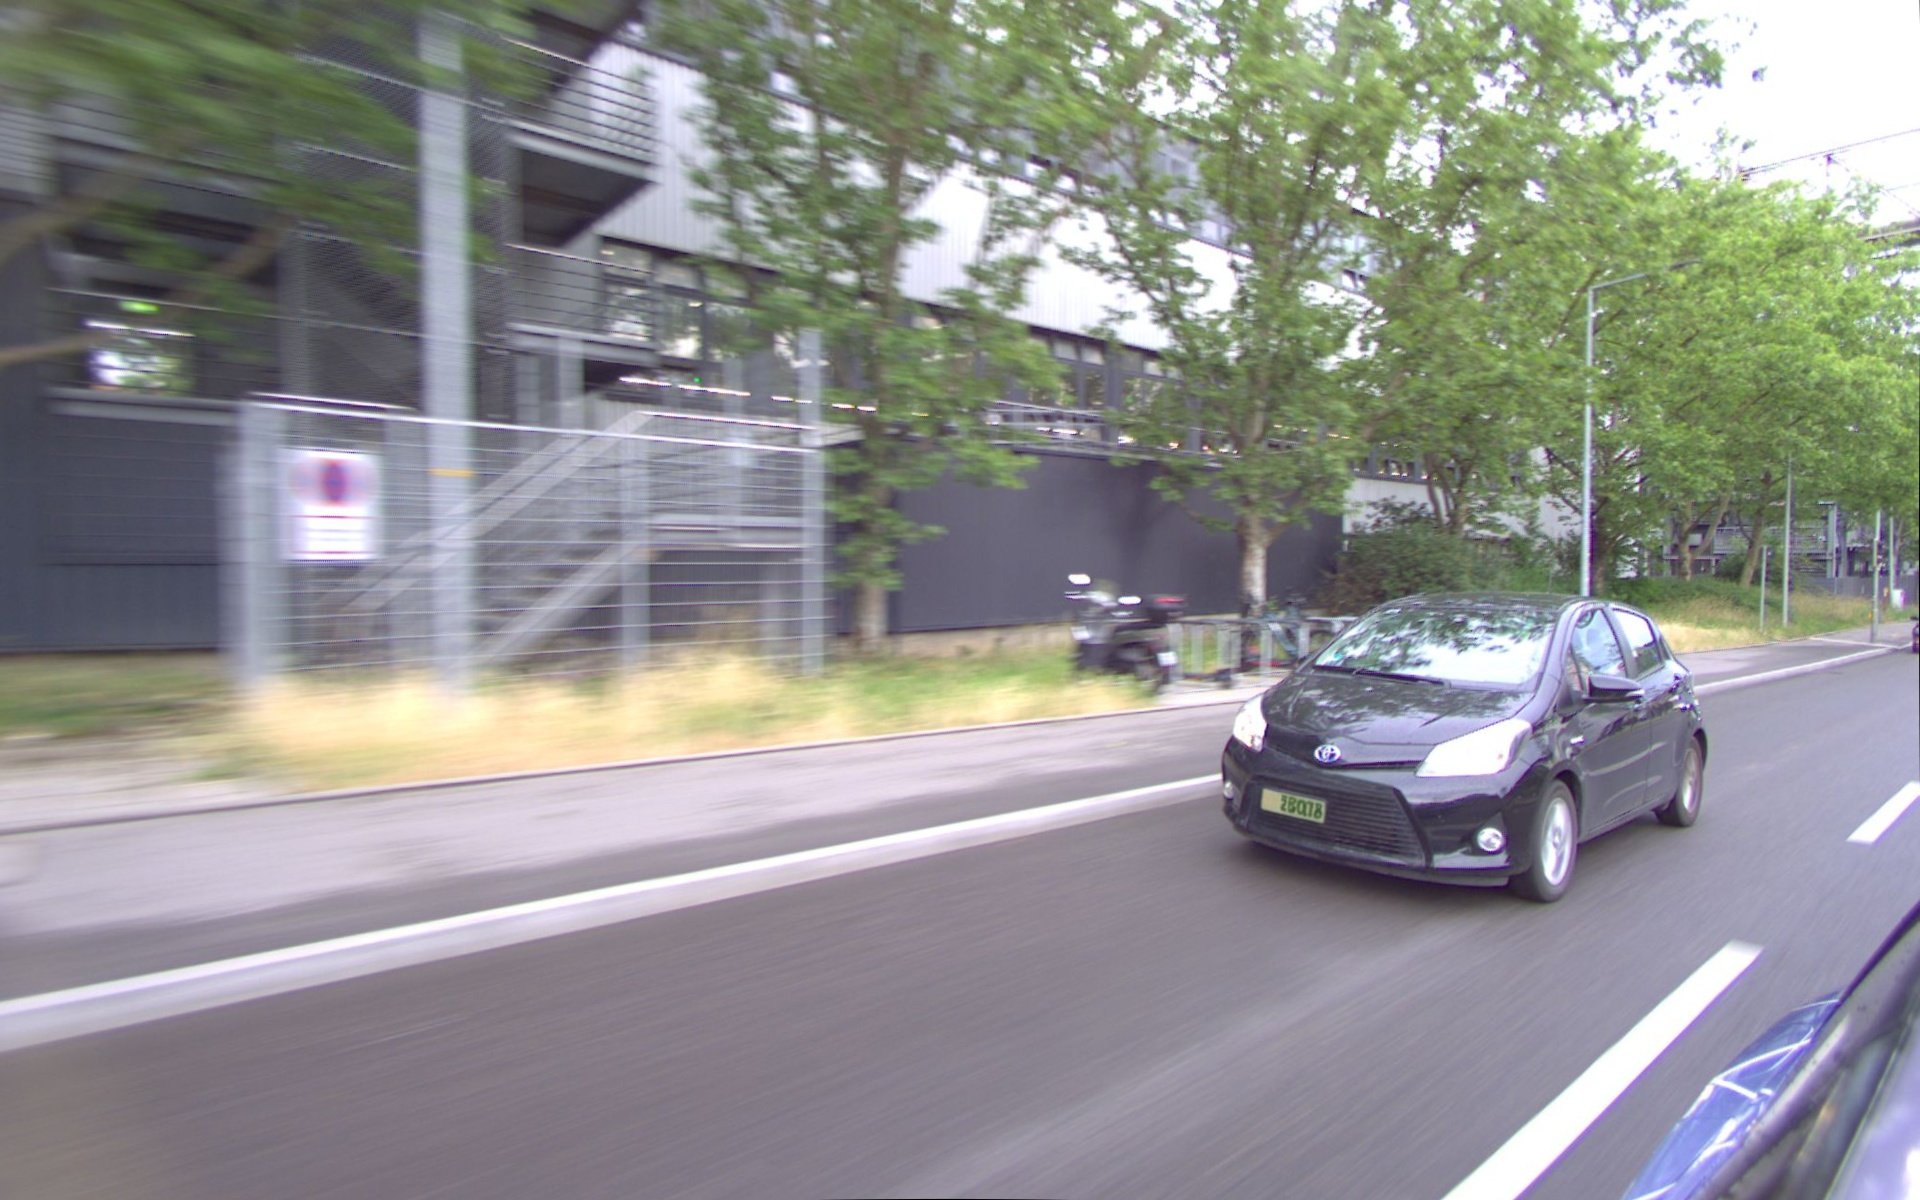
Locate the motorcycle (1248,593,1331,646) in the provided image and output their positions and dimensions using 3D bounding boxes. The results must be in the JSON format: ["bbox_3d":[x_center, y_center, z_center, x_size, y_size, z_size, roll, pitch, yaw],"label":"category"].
[{"bbox_3d":[7.026,0.395,21.642,0.567,1.014,1.611,0,3,-40],"label":"motorcycle"}]

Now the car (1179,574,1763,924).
[{"bbox_3d":[3.497,0.580,6.456,4.560,1.488,1.748,-1,2,-41],"label":"car"}]

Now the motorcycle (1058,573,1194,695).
[{"bbox_3d":[1.934,0.349,12.121,0.432,1.288,2.019,1,2,-28],"label":"motorcycle"}]

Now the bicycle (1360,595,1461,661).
[{"bbox_3d":[7.744,0.459,17.459,0.386,1.017,1.555,0,3,-40],"label":"bicycle"}]

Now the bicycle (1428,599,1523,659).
[{"bbox_3d":[9.800,0.529,19.294,0.386,1.017,1.555,0,3,-40],"label":"bicycle"}]

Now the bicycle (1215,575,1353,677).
[{"bbox_3d":[4.717,0.345,14.833,1.854,1.364,0.442,3,2,38],"label":"bicycle"}]

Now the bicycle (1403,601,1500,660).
[{"bbox_3d":[9.081,0.551,18.742,0.386,0.970,1.555,0,3,-40],"label":"bicycle"}]

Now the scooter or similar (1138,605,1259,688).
[{"bbox_3d":[3.084,0.580,13.145,1.467,0.948,0.362,3,2,33],"label":"scooter or similar"}]

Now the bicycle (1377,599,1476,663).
[{"bbox_3d":[8.297,0.530,18.055,0.386,1.017,1.555,0,3,-40],"label":"bicycle"}]

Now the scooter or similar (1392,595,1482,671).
[{"bbox_3d":[7.528,0.508,16.005,0.307,1.104,1.214,0,3,-44],"label":"scooter or similar"}]

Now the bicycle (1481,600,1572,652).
[{"bbox_3d":[11.827,0.527,21.164,0.380,0.951,1.611,0,3,-40],"label":"bicycle"}]

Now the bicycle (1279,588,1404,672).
[{"bbox_3d":[6.006,0.442,15.998,1.789,1.181,0.441,4,3,44],"label":"bicycle"}]

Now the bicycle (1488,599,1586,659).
[{"bbox_3d":[11.022,0.537,19.367,0.386,1.017,1.555,0,3,-40],"label":"bicycle"}]

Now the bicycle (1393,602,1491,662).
[{"bbox_3d":[8.776,0.557,18.470,0.386,0.970,1.555,0,3,-40],"label":"bicycle"}]
